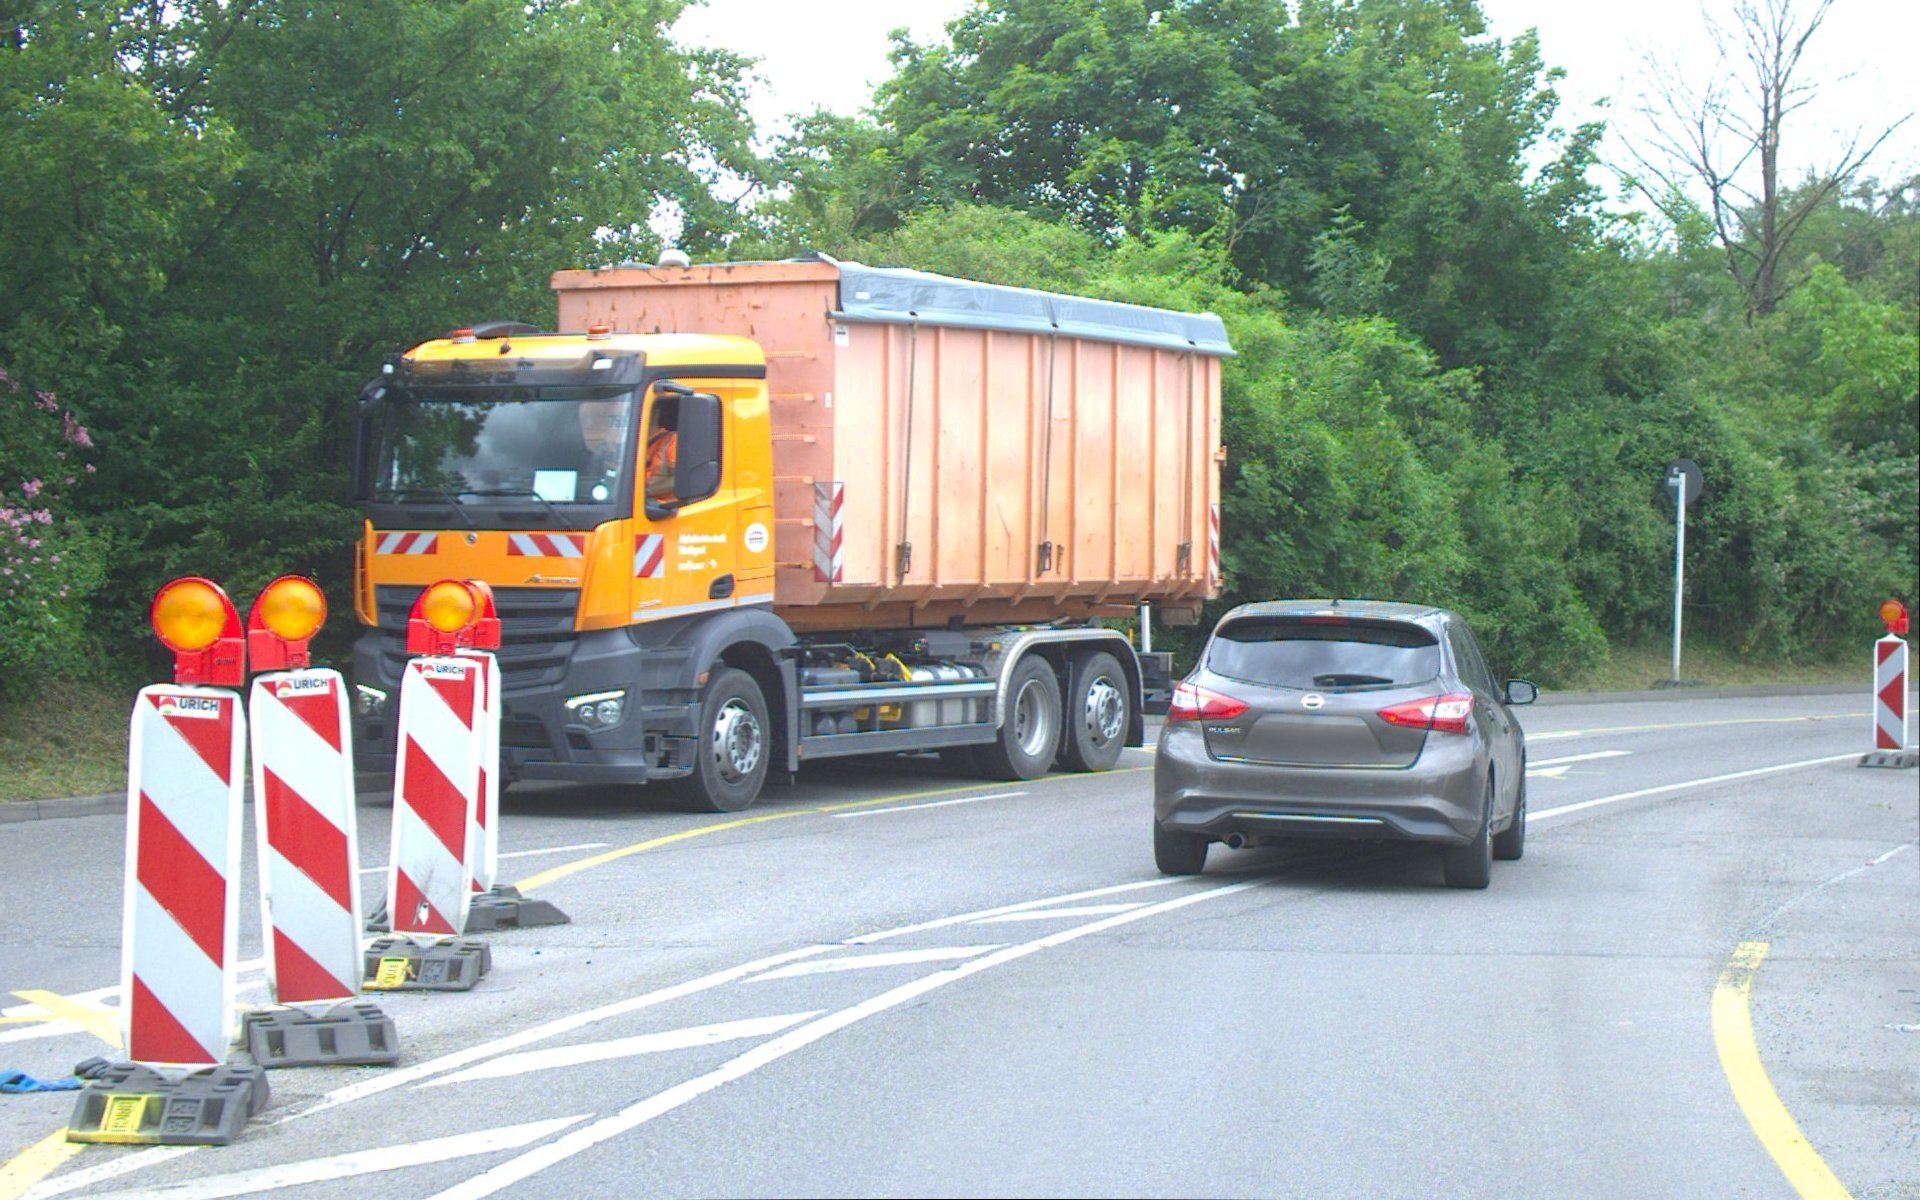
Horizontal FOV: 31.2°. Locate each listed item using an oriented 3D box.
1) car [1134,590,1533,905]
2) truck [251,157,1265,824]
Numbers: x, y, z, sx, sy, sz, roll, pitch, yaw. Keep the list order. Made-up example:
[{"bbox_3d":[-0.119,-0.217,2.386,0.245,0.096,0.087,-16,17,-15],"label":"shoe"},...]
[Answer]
[{"bbox_3d":[2.222,0.743,19.516,1.799,1.547,3.998,1,0,12],"label":"car"},{"bbox_3d":[-1.054,-0.724,26.735,3.115,4.206,9.777,0,0,29],"label":"truck"}]
